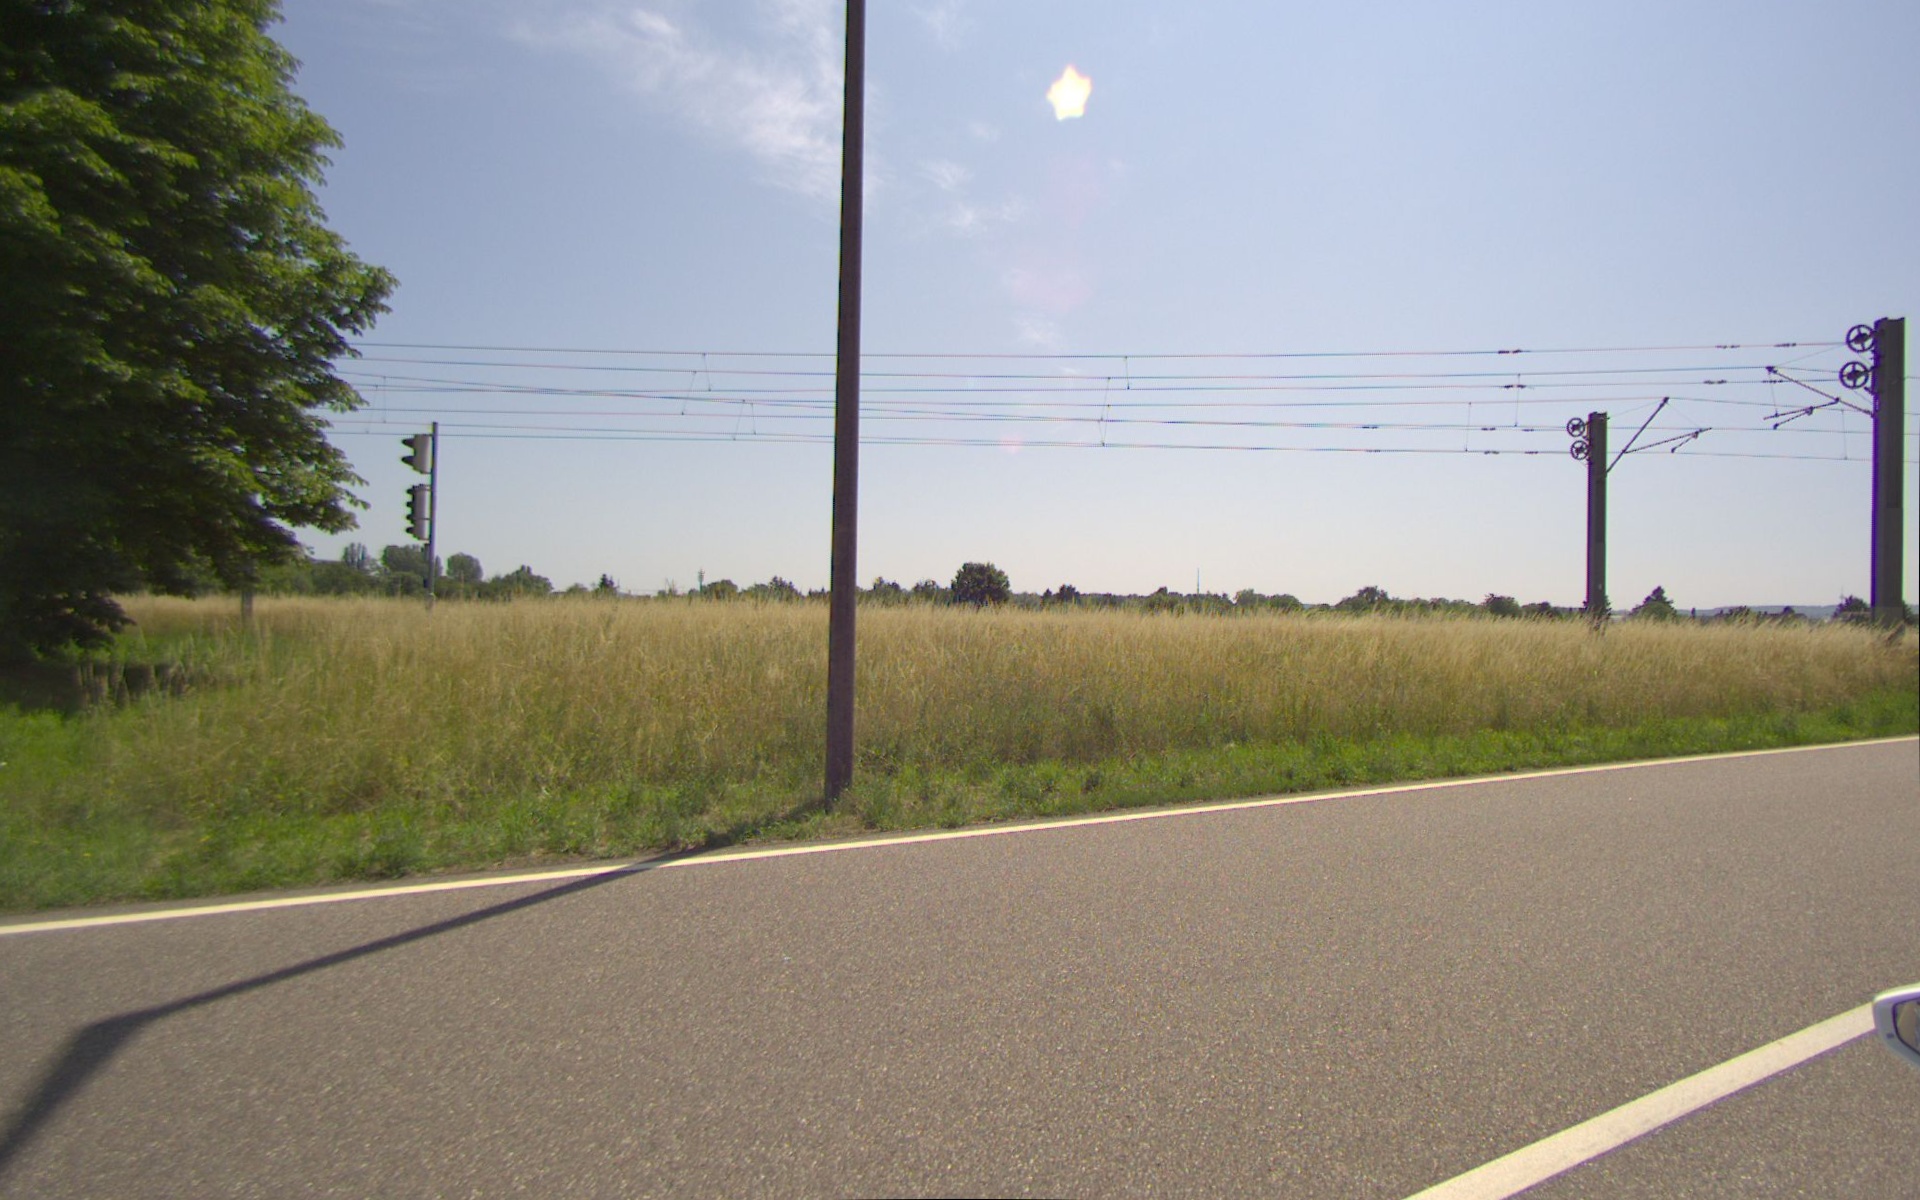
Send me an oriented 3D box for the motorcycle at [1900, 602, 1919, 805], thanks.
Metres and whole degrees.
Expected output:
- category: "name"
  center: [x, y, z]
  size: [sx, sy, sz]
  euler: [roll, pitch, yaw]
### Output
- category: "motorcycle"
  center: [8.657, 0.812, 8.315]
  size: [2.121, 1.607, 0.700]
  euler: [-1, 0, -30]
